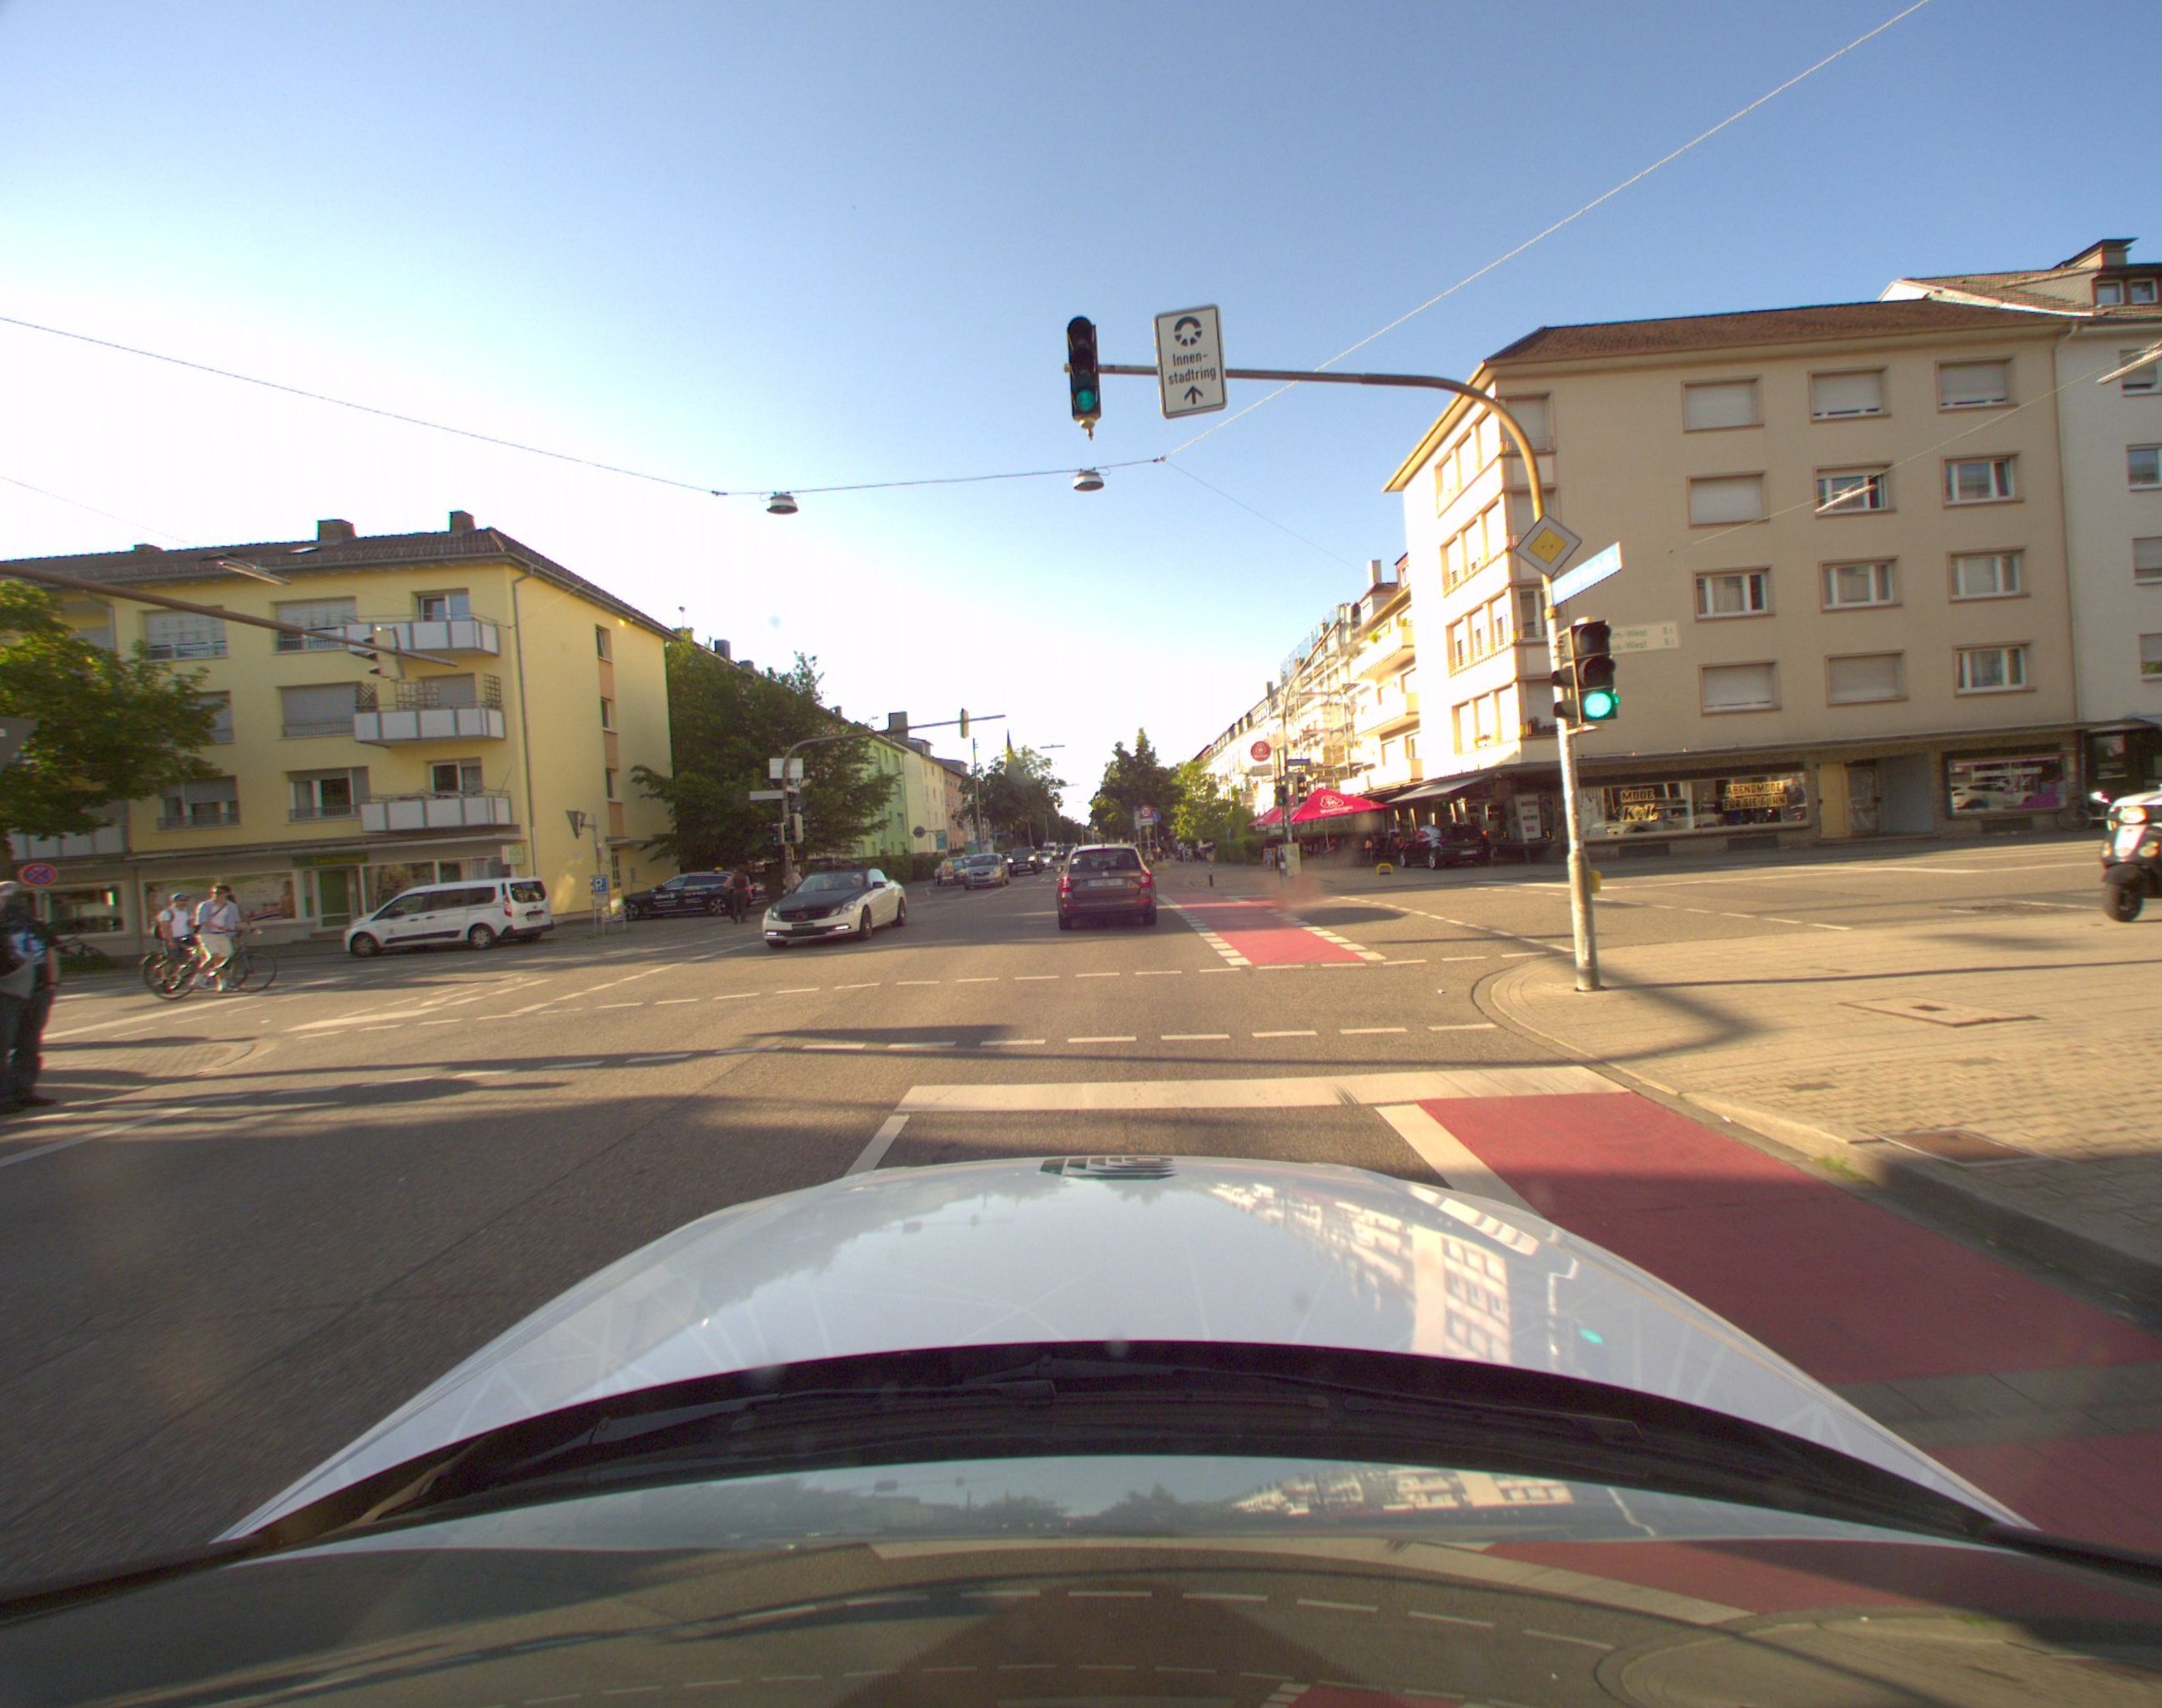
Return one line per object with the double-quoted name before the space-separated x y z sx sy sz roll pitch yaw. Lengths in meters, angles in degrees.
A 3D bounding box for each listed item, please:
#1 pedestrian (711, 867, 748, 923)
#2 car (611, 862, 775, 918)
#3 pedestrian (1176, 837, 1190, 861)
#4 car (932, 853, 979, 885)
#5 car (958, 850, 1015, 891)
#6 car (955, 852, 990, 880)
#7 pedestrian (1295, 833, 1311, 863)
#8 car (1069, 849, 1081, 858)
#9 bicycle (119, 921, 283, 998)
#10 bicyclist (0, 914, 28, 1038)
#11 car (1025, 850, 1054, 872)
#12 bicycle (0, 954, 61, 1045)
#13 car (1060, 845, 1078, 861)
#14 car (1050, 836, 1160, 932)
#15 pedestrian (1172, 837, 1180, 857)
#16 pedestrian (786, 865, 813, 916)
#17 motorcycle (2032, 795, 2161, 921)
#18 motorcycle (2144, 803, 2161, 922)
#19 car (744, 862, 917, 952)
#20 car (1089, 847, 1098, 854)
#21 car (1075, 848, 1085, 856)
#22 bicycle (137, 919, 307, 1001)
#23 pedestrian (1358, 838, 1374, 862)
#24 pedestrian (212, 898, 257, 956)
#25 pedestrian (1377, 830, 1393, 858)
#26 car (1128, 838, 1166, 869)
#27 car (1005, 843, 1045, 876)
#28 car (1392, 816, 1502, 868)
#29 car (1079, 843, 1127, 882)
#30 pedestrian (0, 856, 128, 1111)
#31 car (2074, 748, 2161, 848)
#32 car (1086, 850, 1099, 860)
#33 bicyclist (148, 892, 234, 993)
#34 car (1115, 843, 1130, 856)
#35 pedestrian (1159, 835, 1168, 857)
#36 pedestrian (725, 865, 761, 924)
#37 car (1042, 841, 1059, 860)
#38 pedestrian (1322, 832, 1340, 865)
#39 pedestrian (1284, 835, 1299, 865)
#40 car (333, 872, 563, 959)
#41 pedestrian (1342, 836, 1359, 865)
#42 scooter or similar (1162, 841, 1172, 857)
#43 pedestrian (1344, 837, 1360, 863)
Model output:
"pedestrian" -10.631 1.216 24.656 0.601 1.629 0.755 -1 2 38
"car" -13.029 1.189 27.588 4.578 1.614 1.842 -2 0 -2
"pedestrian" 6.855 -0.355 54.641 0.557 1.568 0.744 -4 0 -17
"car" -6.720 0.785 43.854 1.647 1.479 3.946 -4 0 3
"car" -4.148 0.677 36.350 1.798 1.557 4.002 -5 0 2
"car" -6.665 0.700 50.279 1.632 1.552 3.784 -4 0 -1
"pedestrian" 9.045 -0.242 33.138 0.483 1.150 0.526 -3 0 5
"car" -1.114 -0.110 145.160 1.826 1.470 4.452 -7 0 1
"bicycle" -16.181 1.918 15.018 1.990 1.156 0.727 -4 1 -5
"bicyclist" -14.904 1.677 10.845 0.666 1.653 0.752 -4 1 11
"car" -3.301 0.551 65.494 1.830 1.473 4.673 -5 0 2
"bicycle" -14.914 1.977 10.854 1.980 1.089 0.730 -4 1 11
"car" -1.559 -0.120 109.319 1.987 1.945 4.779 -6 0 1
"car" 0.499 0.469 15.315 1.747 1.492 4.003 -2 1 3
"pedestrian" 8.106 -0.605 69.543 0.509 1.696 0.526 -4 0 -4
"pedestrian" -8.895 1.147 25.776 0.605 1.594 0.749 0 -1 -2
"motorcycle" 11.225 -0.003 8.508 1.986 1.200 0.772 -3 0 -12
"motorcycle" 10.962 0.036 7.420 1.687 1.112 0.595 -3 0 1
"car" -4.724 0.924 16.146 1.834 1.320 4.443 -5 0 2
"car" 3.426 -1.078 220.876 1.990 1.749 3.994 -4 0 -4
"car" -0.200 -0.453 182.911 1.692 1.470 4.299 -5 0 4
"bicycle" -14.994 1.838 14.262 1.990 1.166 0.727 -4 1 -5
"pedestrian" 12.130 -0.183 34.694 0.521 0.990 0.414 -3 0 7
"pedestrian" -26.406 2.269 25.422 0.574 1.720 0.647 -4 1 -1
"pedestrian" 13.722 -0.445 36.791 0.521 1.189 0.414 -3 -2 7
"car" 3.782 -0.039 47.327 1.786 1.632 4.029 -4 0 0
"car" -3.534 0.296 52.460 1.855 1.829 5.230 -6 0 2
"car" 12.137 -0.394 27.349 1.821 1.484 4.205 -4 0 1
"car" 0.886 0.342 33.978 1.885 1.506 3.790 0 -1 1
"pedestrian" -8.838 1.051 6.849 0.635 2.013 0.740 -4 0 2
"car" 22.080 -1.176 15.321 4.326 1.838 1.953 -4 0 1
"car" 1.699 0.140 124.071 1.776 1.480 3.968 -2 1 -2
"bicyclist" -16.369 1.601 14.997 0.605 1.721 0.749 -4 1 -5
"car" 5.491 -0.625 106.983 1.712 1.601 4.097 -4 1 1
"pedestrian" 7.015 -0.682 69.293 0.545 1.849 0.766 -4 0 8
"pedestrian" -9.986 1.188 24.086 0.746 1.657 0.607 -4 0 -6
"car" -4.505 -0.511 120.117 1.986 2.616 7.106 -3 1 1
"pedestrian" 9.884 -0.223 32.208 0.522 1.282 0.541 -3 0 3
"pedestrian" 8.290 -0.171 32.125 0.410 1.150 0.632 -3 0 5
"car" -16.637 1.588 21.569 4.457 1.848 1.908 -4 0 0
"pedestrian" 11.015 -0.140 33.299 0.521 1.150 0.414 -3 0 7
"scooter or similar" 7.299 -0.442 69.264 0.742 1.317 0.722 -4 0 8
"pedestrian" 11.560 -0.177 34.739 0.521 1.049 0.414 -3 0 7
